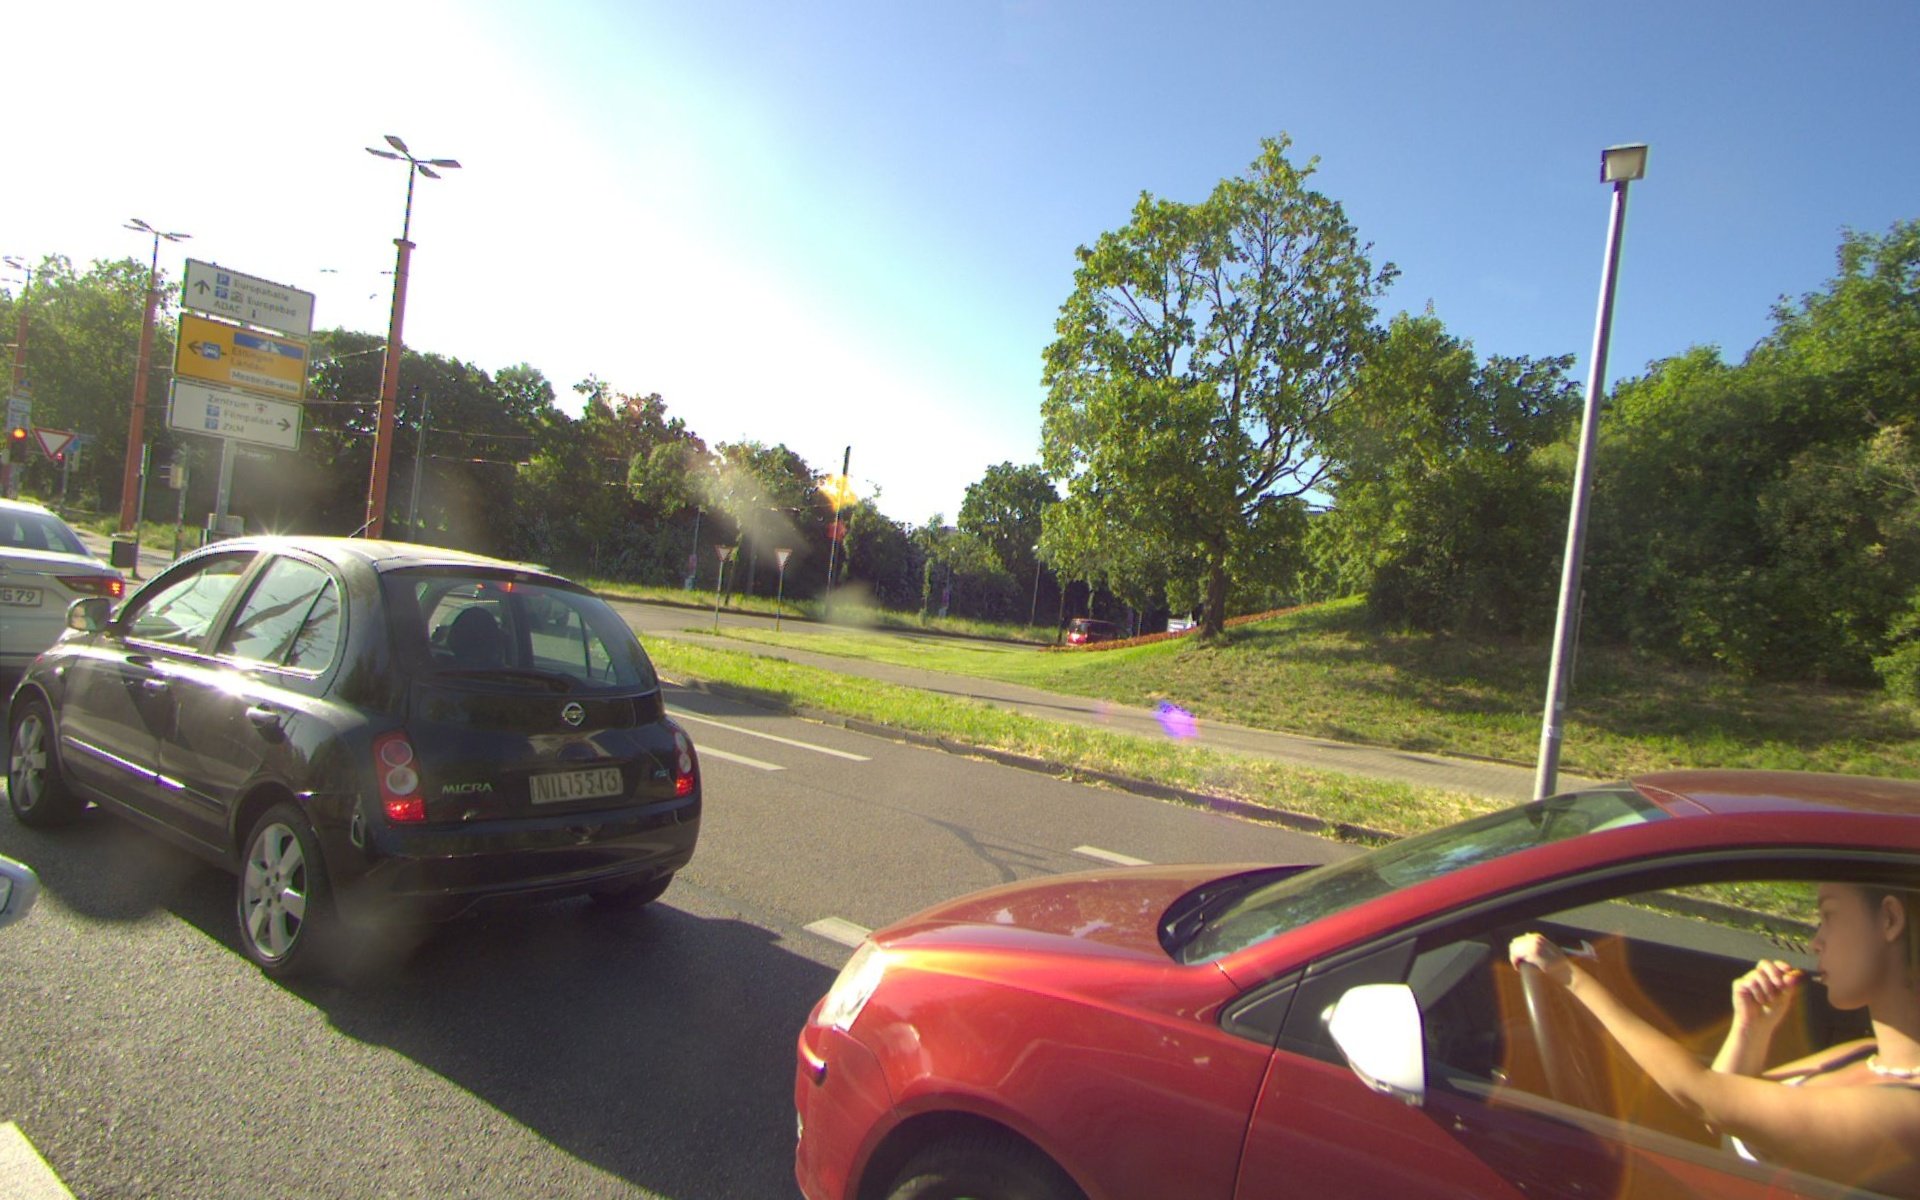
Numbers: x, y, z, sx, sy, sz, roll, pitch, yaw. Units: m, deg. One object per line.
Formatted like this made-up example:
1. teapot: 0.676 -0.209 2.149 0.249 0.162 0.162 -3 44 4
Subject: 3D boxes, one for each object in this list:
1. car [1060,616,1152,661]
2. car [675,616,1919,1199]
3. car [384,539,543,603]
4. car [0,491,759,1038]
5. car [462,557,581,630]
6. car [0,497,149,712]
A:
1. car: 7.478 1.964 51.490 4.312 1.753 1.828 8 -1 -31
2. car: 1.374 0.989 1.891 3.634 1.434 1.624 7 -1 34
3. car: -17.735 -1.024 36.018 4.877 1.594 1.985 8 -1 -30
4. car: -2.818 0.463 4.622 3.457 1.524 1.558 7 0 32
5. car: -10.871 -0.153 25.198 1.722 1.486 3.885 7 -1 -10
6. car: -8.343 -0.164 7.976 4.077 1.472 1.717 7 -1 33
